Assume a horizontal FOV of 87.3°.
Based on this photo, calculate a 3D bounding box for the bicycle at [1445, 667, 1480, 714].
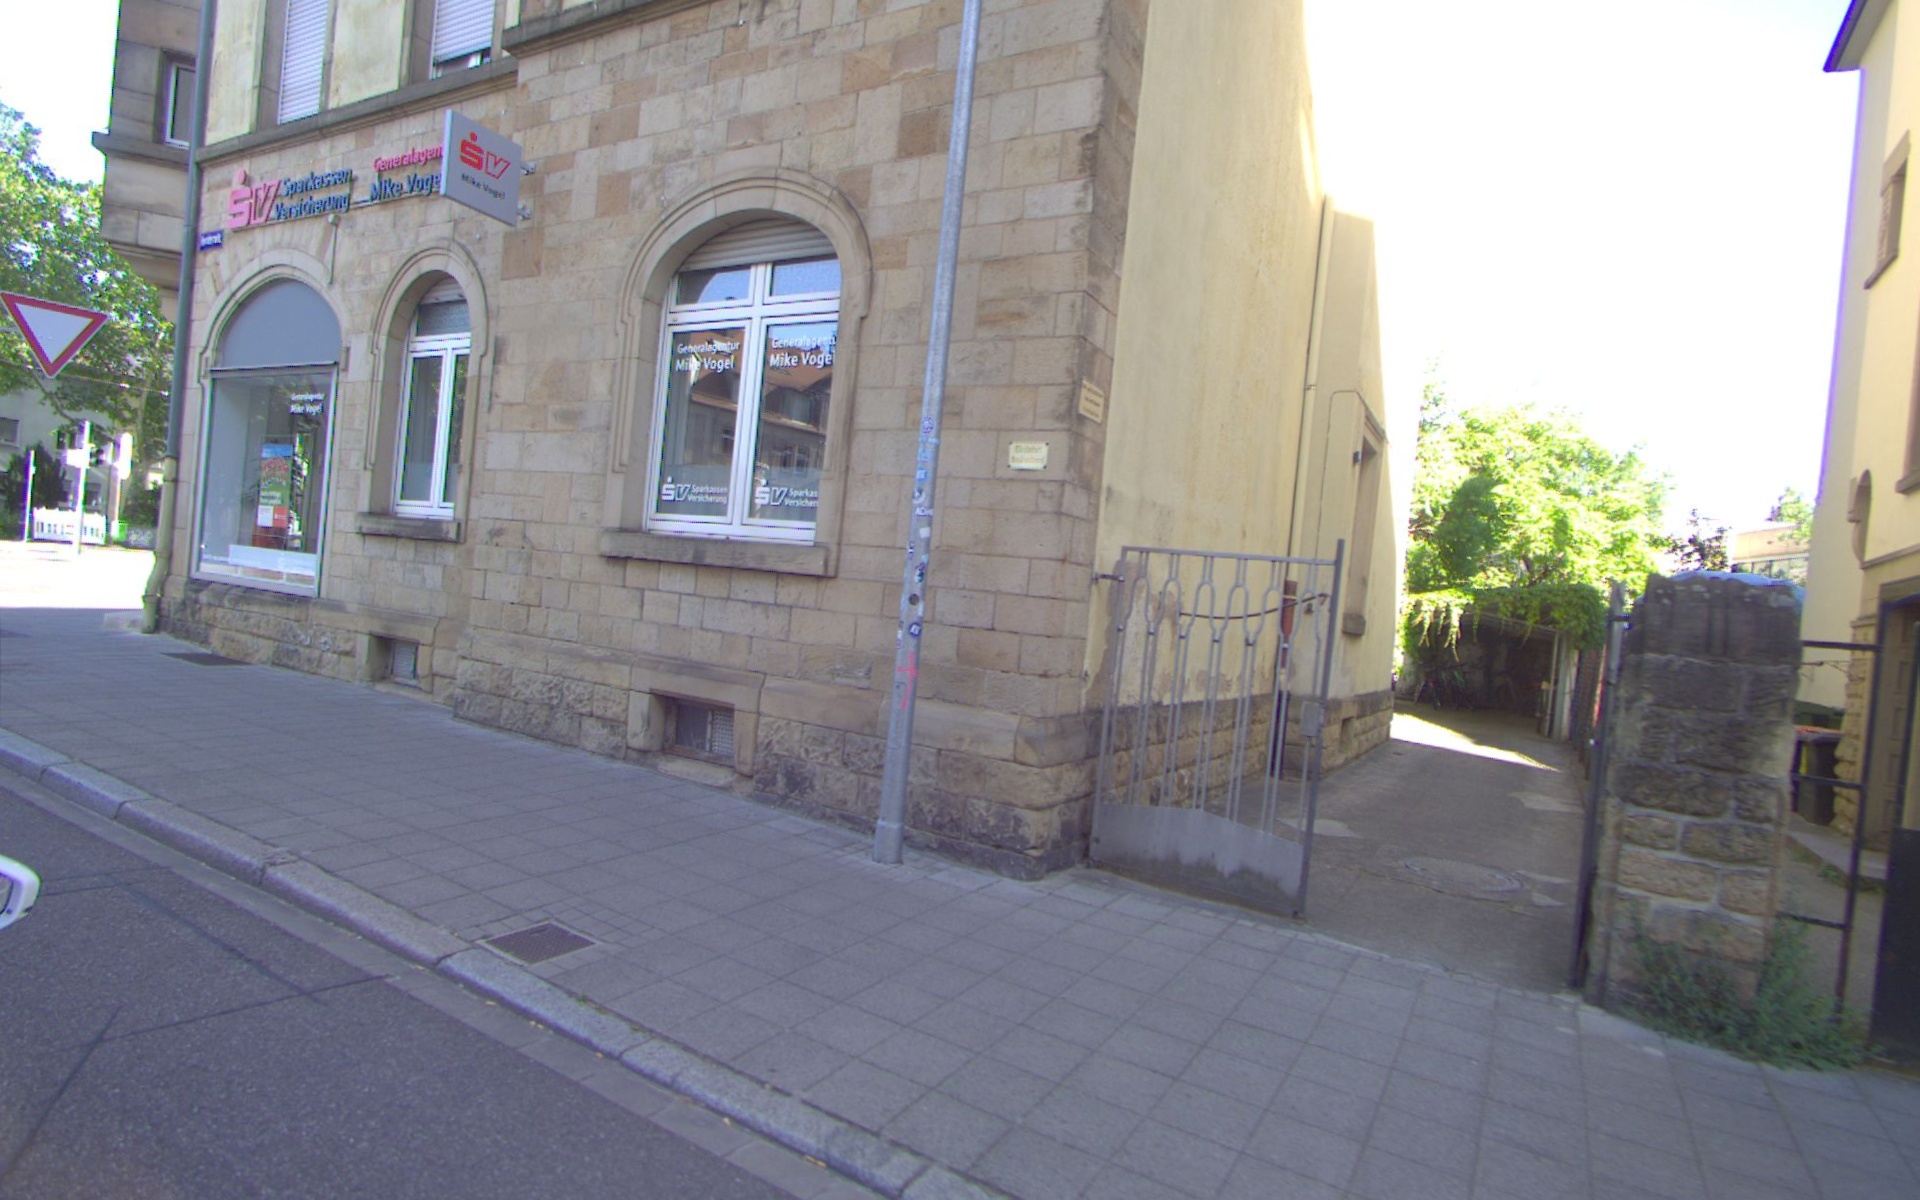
[{"bbox_3d":[12.171,2.169,24.400,0.642,1.022,1.985,4,-1,25],"label":"bicycle"}]

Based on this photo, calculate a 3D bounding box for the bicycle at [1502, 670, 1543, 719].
[{"bbox_3d":[13.333,2.217,23.879,0.642,1.022,1.985,4,-1,25],"label":"bicycle"}]

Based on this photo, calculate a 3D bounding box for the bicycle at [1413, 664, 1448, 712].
[{"bbox_3d":[11.534,2.131,24.688,0.641,1.022,1.985,6,0,25],"label":"bicycle"}]
